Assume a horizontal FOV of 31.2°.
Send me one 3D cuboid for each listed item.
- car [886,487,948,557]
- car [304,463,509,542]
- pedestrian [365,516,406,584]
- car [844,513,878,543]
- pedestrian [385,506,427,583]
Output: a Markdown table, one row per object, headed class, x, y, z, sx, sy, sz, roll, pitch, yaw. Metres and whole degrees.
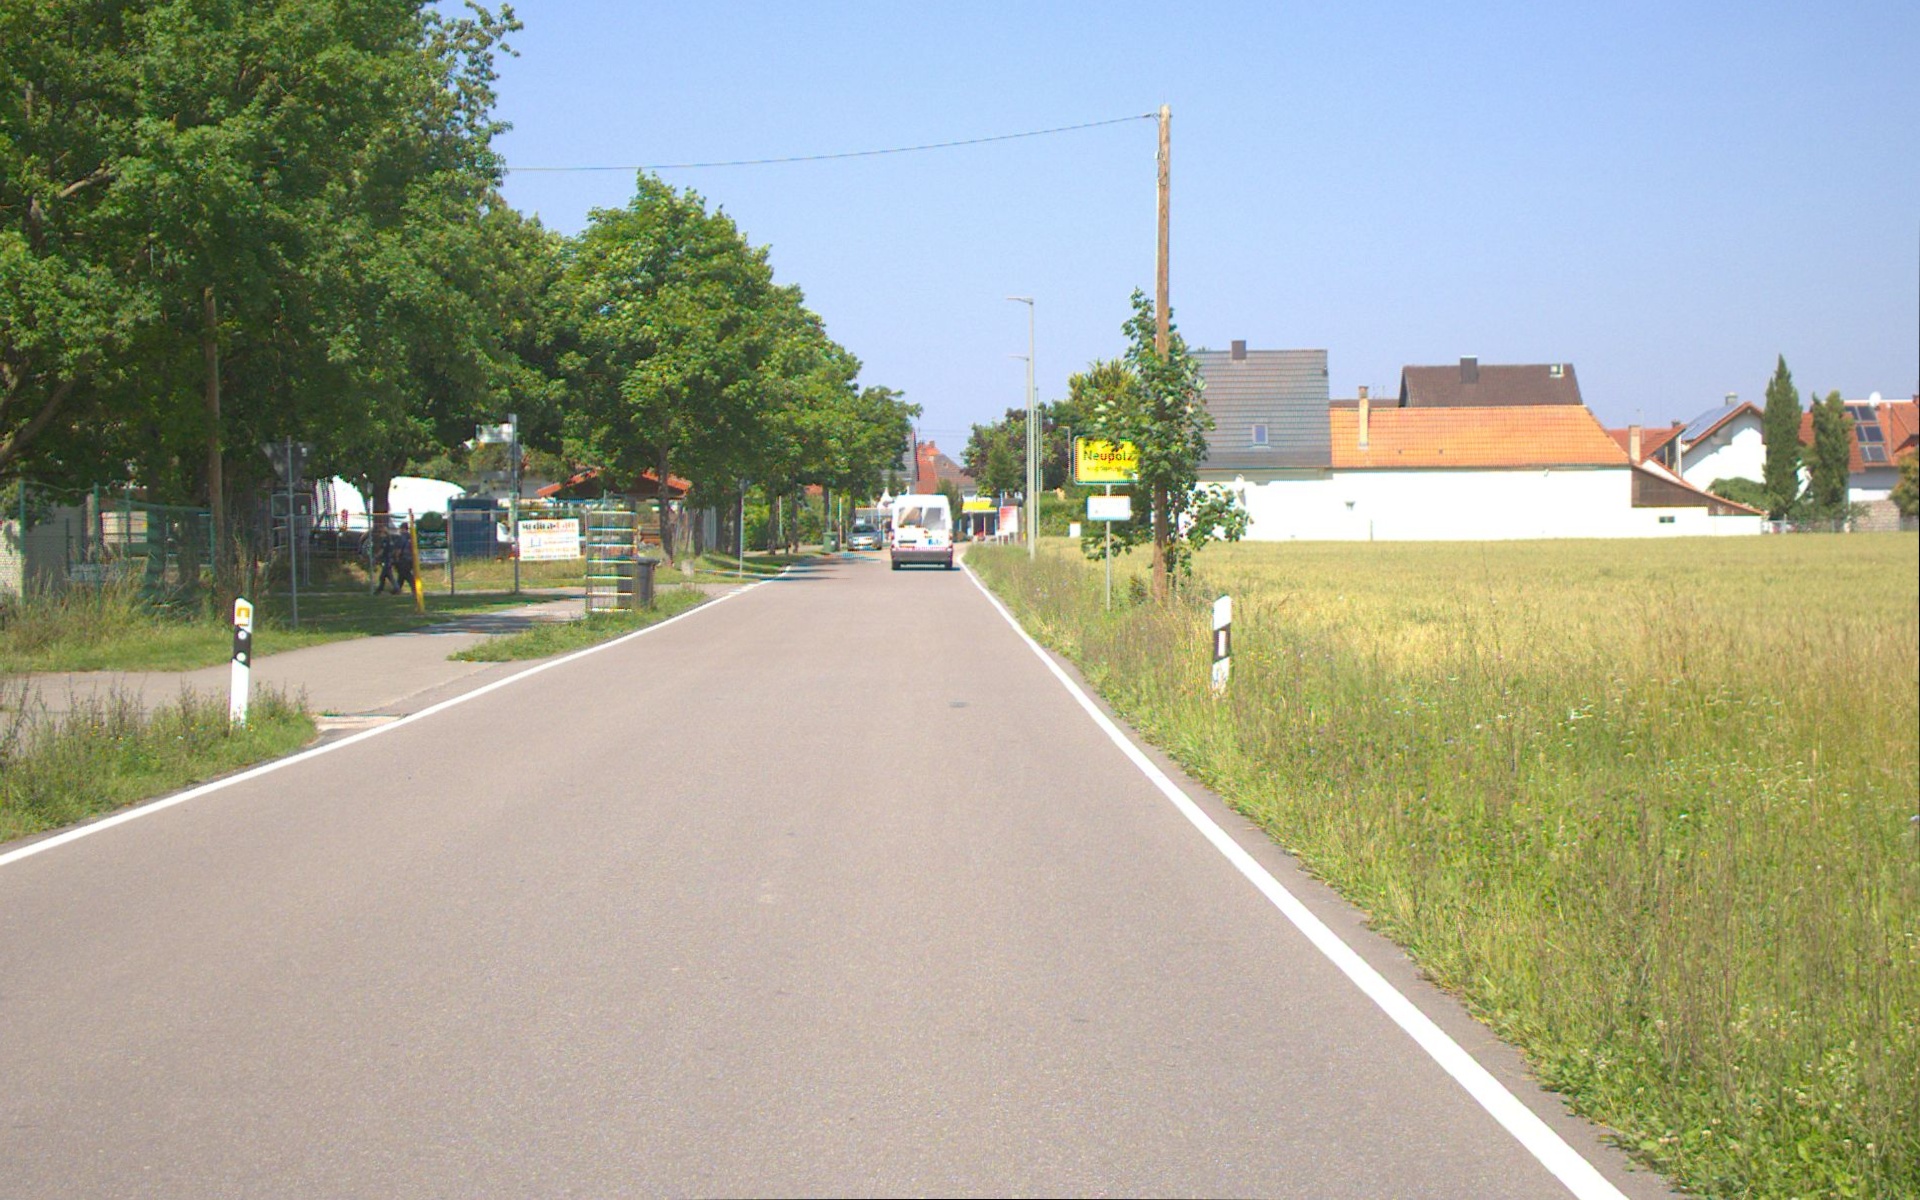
| class | x | y | z | sx | sy | sz | roll | pitch | yaw |
| --- | --- | --- | --- | --- | --- | --- | --- | --- | --- |
| car | -1.420 | -2.584 | 113.656 | 1.993 | 2.258 | 4.726 | -1 | 1 | -1 |
| car | -16.089 | -2.848 | 100.120 | 5.597 | 2.258 | 1.999 | -2 | 2 | -39 |
| pedestrian | -13.360 | -1.159 | 79.943 | 0.677 | 1.560 | 0.718 | 0 | 1 | 15 |
| car | -5.320 | -3.908 | 185.335 | 1.771 | 1.585 | 4.000 | -1 | 1 | -1 |
| pedestrian | -13.004 | -1.297 | 80.703 | 0.720 | 1.796 | 0.710 | 0 | 1 | 15 |
